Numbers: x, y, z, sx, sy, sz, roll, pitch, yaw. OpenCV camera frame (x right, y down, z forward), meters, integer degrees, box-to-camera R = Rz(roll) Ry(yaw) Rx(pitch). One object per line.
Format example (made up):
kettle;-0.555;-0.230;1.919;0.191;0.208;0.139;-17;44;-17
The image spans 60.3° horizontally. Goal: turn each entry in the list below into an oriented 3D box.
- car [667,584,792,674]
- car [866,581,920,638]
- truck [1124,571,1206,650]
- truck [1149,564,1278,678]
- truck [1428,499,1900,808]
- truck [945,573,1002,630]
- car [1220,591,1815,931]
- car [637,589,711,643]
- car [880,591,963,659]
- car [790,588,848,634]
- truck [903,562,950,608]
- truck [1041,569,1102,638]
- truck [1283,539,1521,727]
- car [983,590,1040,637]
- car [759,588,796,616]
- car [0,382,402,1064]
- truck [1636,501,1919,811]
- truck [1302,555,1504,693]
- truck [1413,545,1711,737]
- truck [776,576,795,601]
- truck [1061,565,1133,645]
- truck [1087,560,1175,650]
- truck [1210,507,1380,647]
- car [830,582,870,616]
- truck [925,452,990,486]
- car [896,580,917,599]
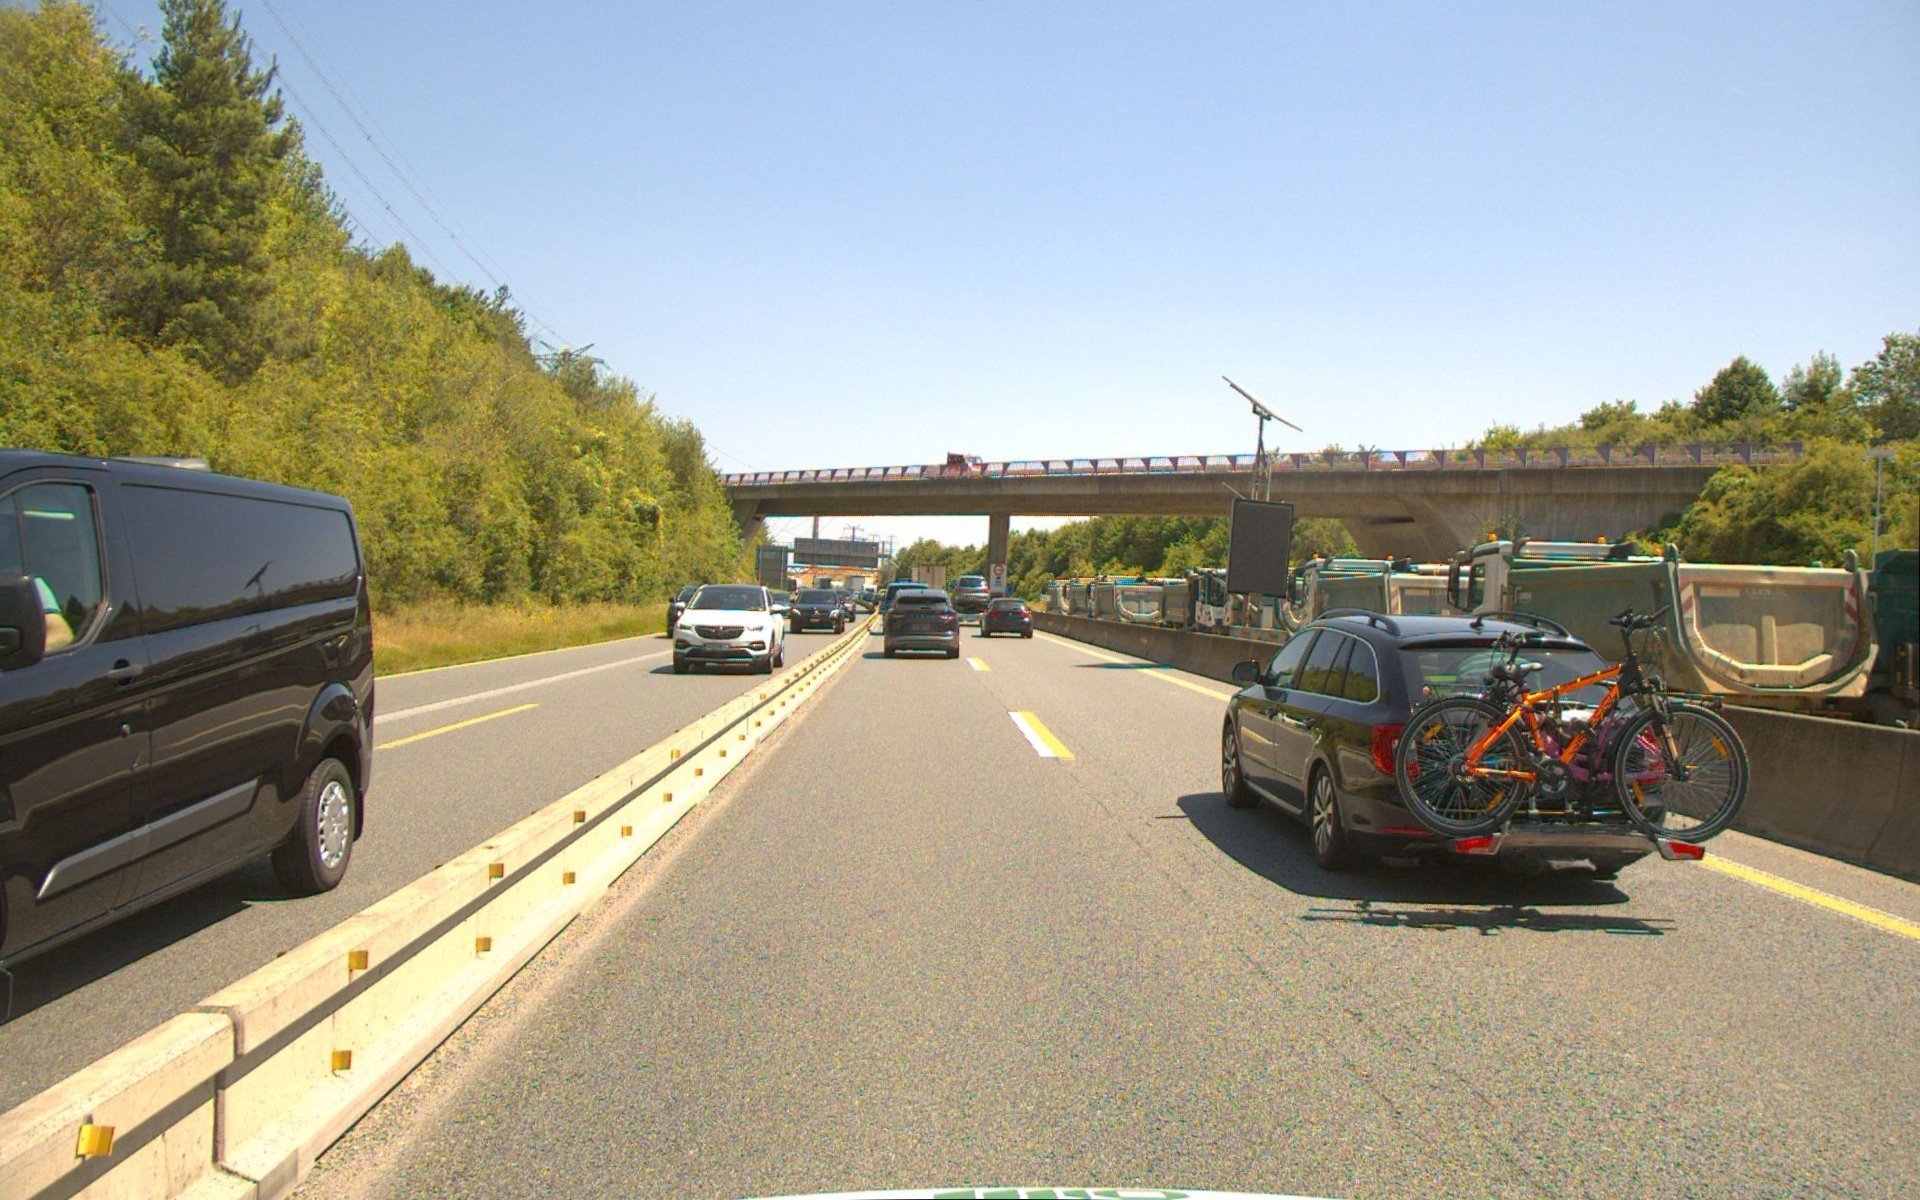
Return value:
car;-4.323;0.500;31.650;1.806;1.560;4.670;1;0;-2
car;-2.474;0.355;61.676;1.860;2.003;4.275;1;0;-1
truck;10.462;0.495;85.465;2.633;3.792;9.320;1;0;-2
truck;8.714;0.666;57.930;2.633;3.619;9.320;1;0;-2
truck;9.748;0.620;24.500;2.633;3.619;9.600;1;0;-2
truck;0.593;0.034;81.904;2.357;2.603;7.496;1;1;-3
car;2.946;0.748;10.046;1.860;1.516;4.946;1;0;-1
car;-8.943;0.481;51.949;1.665;1.592;3.993;2;0;-2
car;-0.917;0.572;40.247;1.860;1.531;4.275;1;0;-1
car;-5.174;0.375;61.191;1.806;1.560;4.670;2;0;-2
truck;-3.072;-1.324;147.587;3.229;3.912;10.095;1;0;-7
truck;6.627;0.158;99.649;2.633;3.910;9.321;1;0;-2
truck;9.547;0.627;36.972;2.632;3.619;9.404;1;0;-1
car;1.854;0.468;60.714;1.861;1.613;4.275;1;0;-1
car;-10.401;0.115;94.393;1.688;1.548;4.184;1;0;-1
car;-3.821;0.347;6.197;1.852;2.049;4.817;2;0;-1
truck;12.462;0.670;22.111;2.633;3.619;9.599;1;0;-2
truck;12.207;0.583;46.640;2.633;3.437;9.597;1;0;-3
truck;12.263;0.733;34.877;2.632;3.437;9.601;1;0;-1
truck;-23.659;-1.600;224.154;2.460;3.242;10.095;1;0;-6
truck;7.124;0.234;87.409;2.633;3.923;9.321;1;0;-2
truck;7.704;0.190;75.681;2.633;3.826;9.321;1;0;-2
truck;9.513;-0.625;48.164;2.633;3.619;9.320;1;0;-2
car;-5.671;-0.062;85.899;1.806;1.638;4.698;2;0;-2
truck;-0.199;-9.658;122.487;1.916;2.102;5.442;2;0;-37
car;-5.957;-1.113;182.443;1.863;2.003;4.269;1;0;-8
